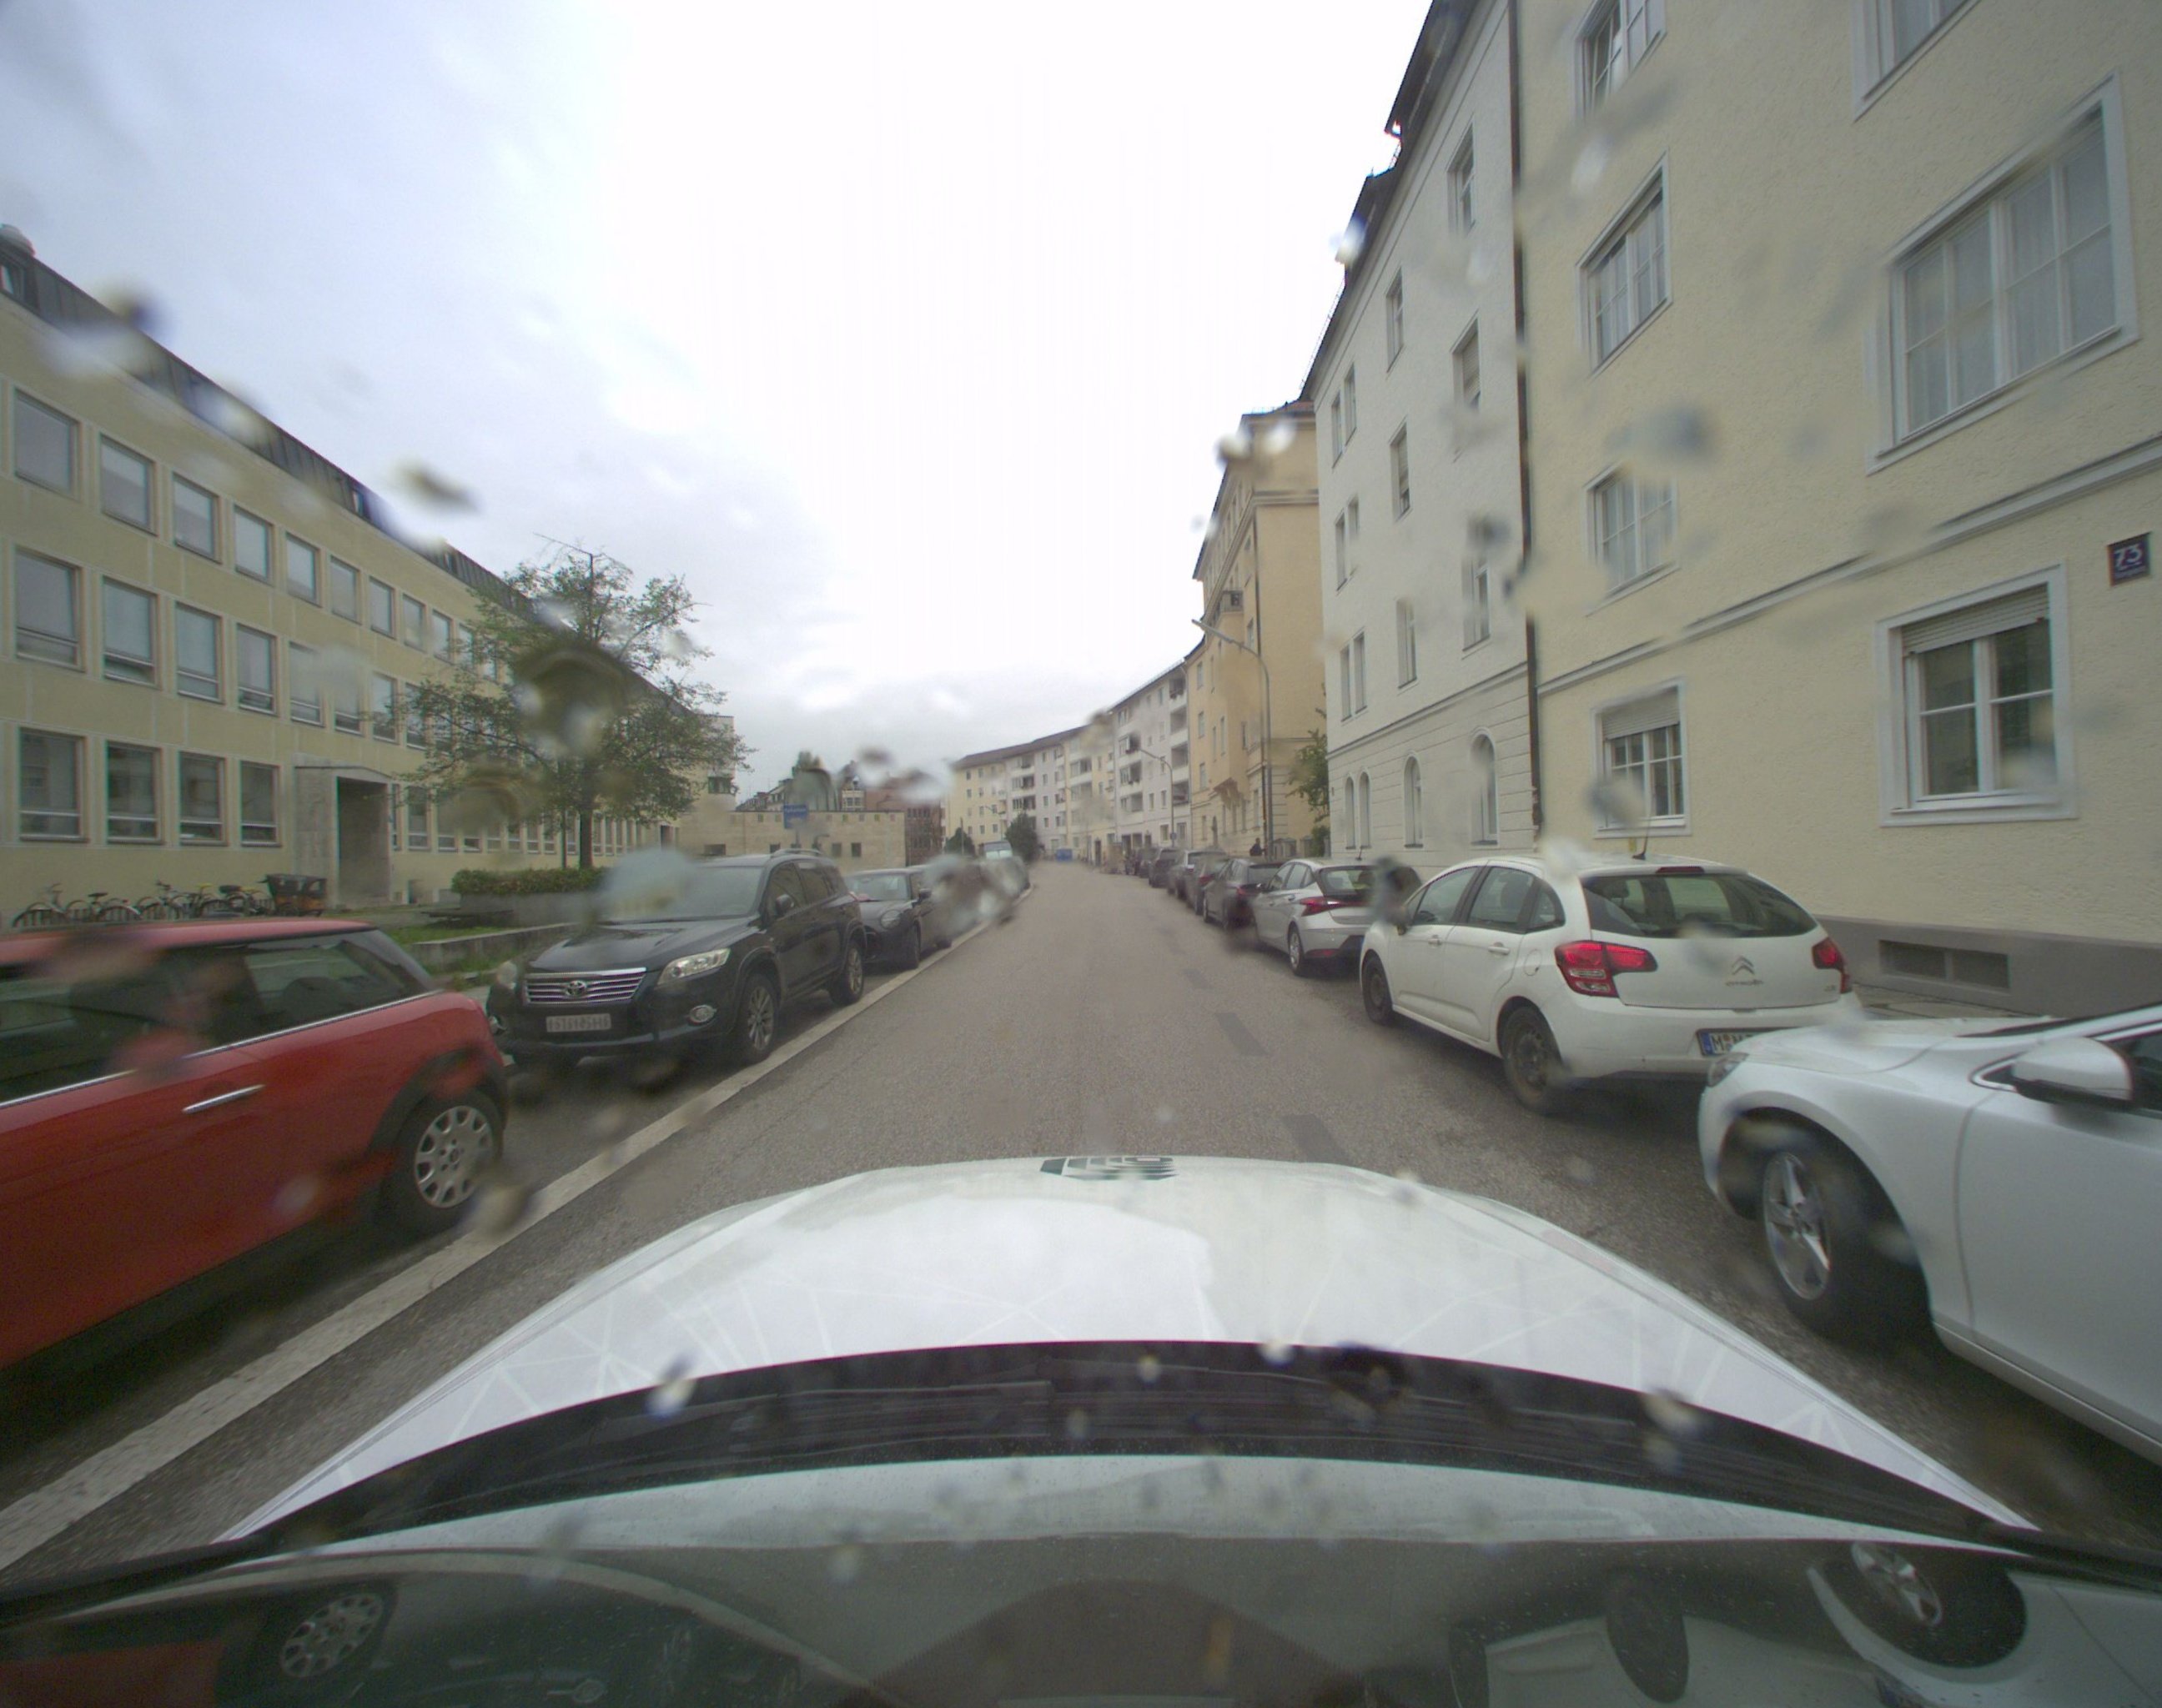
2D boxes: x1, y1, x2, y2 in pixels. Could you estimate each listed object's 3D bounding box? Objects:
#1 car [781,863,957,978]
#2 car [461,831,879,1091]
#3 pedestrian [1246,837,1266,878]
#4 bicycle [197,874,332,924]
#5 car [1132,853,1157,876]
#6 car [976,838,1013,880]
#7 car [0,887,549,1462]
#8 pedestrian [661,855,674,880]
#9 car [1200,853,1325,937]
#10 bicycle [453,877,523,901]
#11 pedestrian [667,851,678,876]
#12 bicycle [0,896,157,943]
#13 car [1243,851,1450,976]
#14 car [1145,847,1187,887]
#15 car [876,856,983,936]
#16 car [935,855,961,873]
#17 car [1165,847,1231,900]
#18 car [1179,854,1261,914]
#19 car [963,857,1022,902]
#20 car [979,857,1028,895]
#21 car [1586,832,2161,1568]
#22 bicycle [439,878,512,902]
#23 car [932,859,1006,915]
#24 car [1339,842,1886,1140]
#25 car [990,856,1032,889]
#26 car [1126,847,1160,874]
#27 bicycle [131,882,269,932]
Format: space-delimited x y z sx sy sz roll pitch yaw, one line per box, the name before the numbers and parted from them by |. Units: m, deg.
car | -3.126 0.917 12.796 1.618 1.412 3.800 -3 0 1
car | -3.329 0.729 7.617 1.695 1.691 4.029 -3 0 1
pedestrian | 7.299 0.147 34.002 0.664 1.692 0.690 1 -1 2
bicycle | -21.272 1.152 21.279 2.249 1.168 1.042 -1 0 -14
car | 3.731 0.623 48.008 1.267 1.299 2.798 -1 0 1
car | -5.771 0.326 54.119 1.774 2.654 3.978 -1 0 -16
car | -3.605 0.910 2.317 1.646 1.373 3.653 -3 0 1
pedestrian | -28.944 0.911 57.001 0.671 1.736 0.640 1 -1 -13
car | 3.421 0.701 16.151 1.585 1.432 4.422 0 0 1
bicycle | -23.323 1.363 32.065 2.123 0.835 0.644 -1 -1 -17
pedestrian | -29.185 0.669 58.179 0.602 1.736 0.658 1 -1 -29
bicycle | -20.284 1.313 16.453 2.210 0.835 0.492 -1 -1 -17
car | 3.457 0.710 11.381 1.686 1.432 3.945 0 -1 1
car | 3.706 0.537 35.964 1.469 1.641 4.001 0 0 1
car | -3.224 0.830 18.053 1.619 1.508 3.979 -2 0 -1
car | -12.502 0.914 76.337 1.607 1.648 3.114 1 -1 -26
car | 3.710 0.584 26.388 1.585 1.582 4.300 0 0 1
car | 3.559 0.717 21.406 1.585 1.432 3.826 0 0 1
car | -3.114 0.855 29.211 1.618 1.419 3.981 -2 0 0
car | -3.167 0.856 33.855 1.618 1.419 3.981 -2 0 0
car | 3.059 0.713 1.468 1.686 1.491 4.284 -2 1 1
bicycle | -23.215 1.386 31.255 2.210 0.835 0.492 -1 -1 -17
car | -3.178 0.896 23.724 1.619 1.419 3.979 -2 0 -1
car | 3.327 0.685 6.066 1.594 1.491 3.798 -1 0 0
car | -3.254 0.857 38.573 1.618 1.419 3.647 -2 0 0
car | 3.998 0.391 52.937 1.600 1.715 3.081 0 0 -7
bicycle | -20.380 1.213 18.873 2.210 1.037 0.492 -1 -1 -17
